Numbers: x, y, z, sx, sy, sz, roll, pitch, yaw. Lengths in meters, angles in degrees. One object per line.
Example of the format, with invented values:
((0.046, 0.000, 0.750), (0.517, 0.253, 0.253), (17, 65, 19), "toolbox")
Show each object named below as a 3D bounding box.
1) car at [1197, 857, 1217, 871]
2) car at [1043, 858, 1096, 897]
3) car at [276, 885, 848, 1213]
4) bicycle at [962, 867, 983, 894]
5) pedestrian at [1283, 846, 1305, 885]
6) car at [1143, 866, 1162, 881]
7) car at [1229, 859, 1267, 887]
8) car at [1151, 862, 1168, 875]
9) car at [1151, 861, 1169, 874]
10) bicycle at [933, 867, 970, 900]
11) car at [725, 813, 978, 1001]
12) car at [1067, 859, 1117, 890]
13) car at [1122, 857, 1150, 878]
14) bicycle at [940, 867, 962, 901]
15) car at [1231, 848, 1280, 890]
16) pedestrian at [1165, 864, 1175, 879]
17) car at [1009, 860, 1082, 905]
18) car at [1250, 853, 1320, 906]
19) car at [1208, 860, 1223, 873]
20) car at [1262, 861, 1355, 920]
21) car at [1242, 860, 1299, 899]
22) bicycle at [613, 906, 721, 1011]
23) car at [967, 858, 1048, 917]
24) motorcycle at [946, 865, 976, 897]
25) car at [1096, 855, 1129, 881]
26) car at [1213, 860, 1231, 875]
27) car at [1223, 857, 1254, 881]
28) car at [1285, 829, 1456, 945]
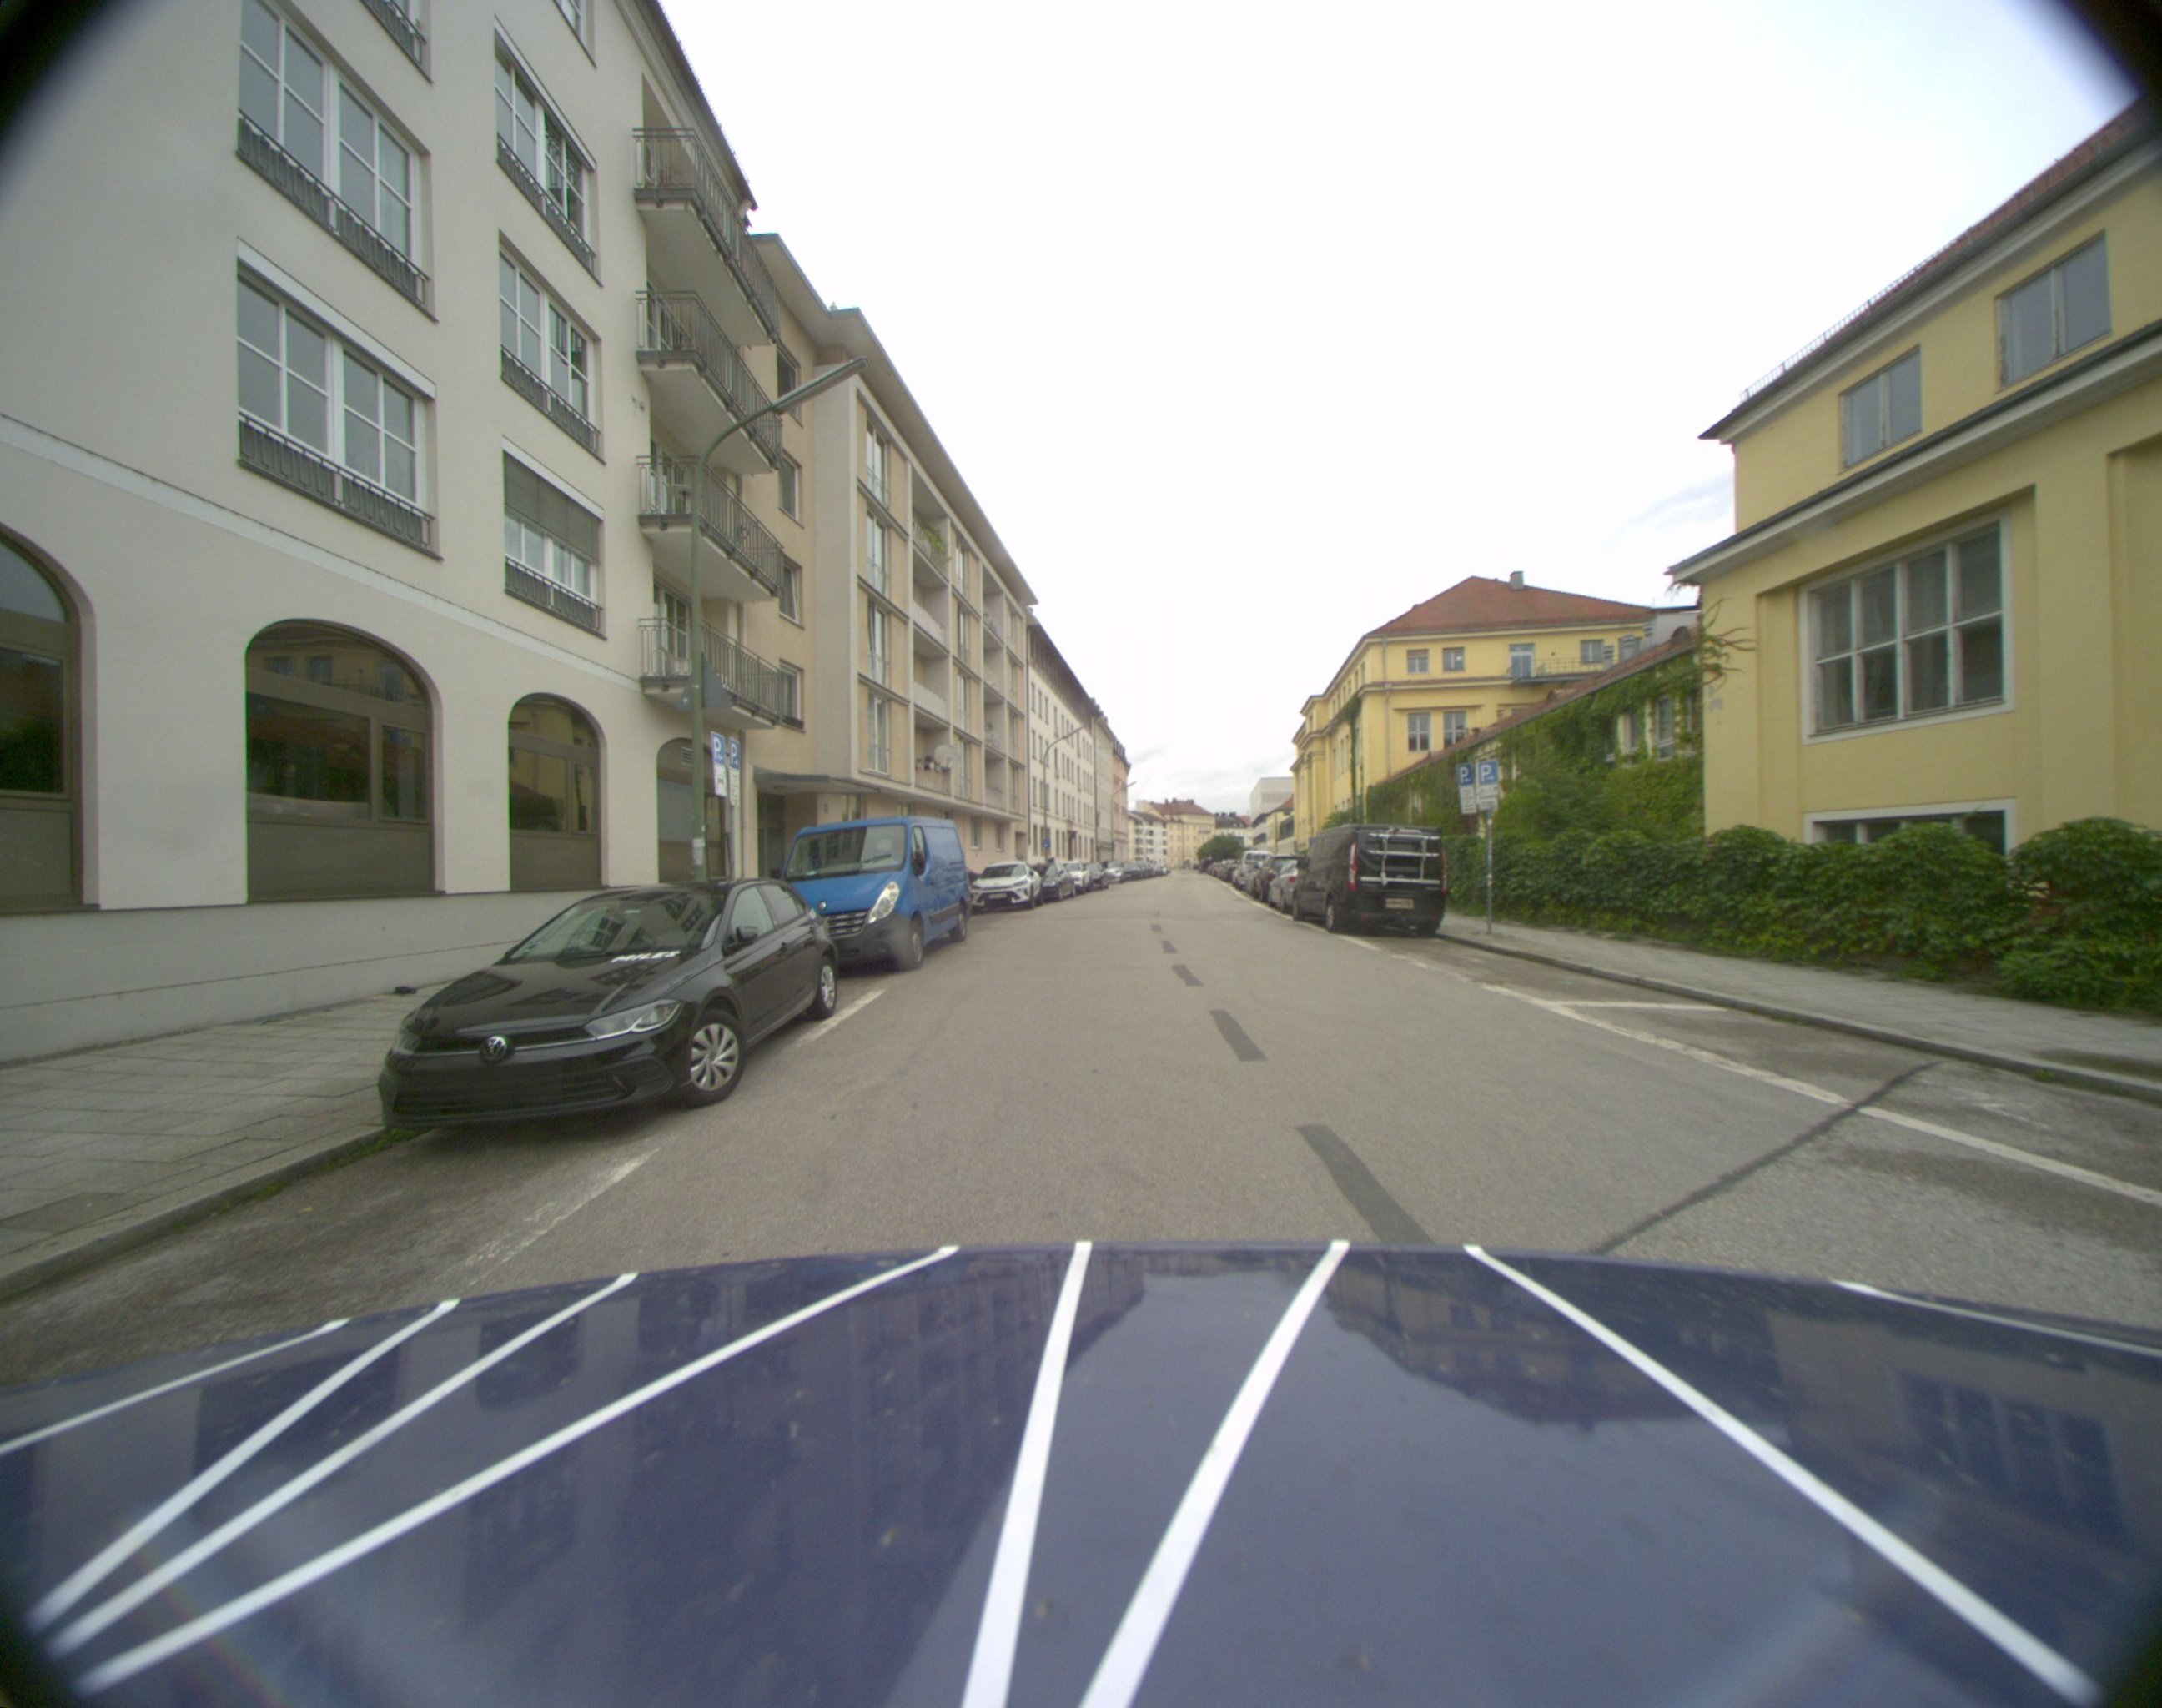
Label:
((22.387, 1.770, 135.192), (2.846, 2.536, 6.895), (0, -1, 3), "car")
((-0.459, 1.005, 34.009), (1.705, 1.459, 4.122), (-5, -1, 7), "car")
((-3.247, 1.071, 5.879), (1.719, 1.386, 3.999), (-4, 0, -3), "car")
((-4.791, 1.172, 33.618), (0.514, 1.150, 1.602), (0, 0, 8), "bicycle")
((9.735, 0.512, 34.739), (0.844, 1.744, 0.873), (-1, 0, 9), "pedestrian")
((7.836, 2.089, 83.152), (1.767, 1.531, 4.003), (-4, -1, 9), "car")
((9.105, 1.023, 41.637), (1.670, 1.401, 3.561), (2, 0, 7), "car")
((10.978, 2.014, 105.595), (2.000, 1.563, 4.495), (-3, -1, 9), "car")
((9.288, 1.604, 89.617), (1.723, 1.457, 4.196), (-3, -1, 10), "car")
((-5.015, 1.151, 29.488), (1.341, 1.195, 0.394), (2, 1, -5), "bicycle")
((-3.262, 0.624, 12.174), (2.114, 2.201, 5.028), (-6, 1, 3), "car")
((0.640, 1.025, 38.685), (1.830, 1.373, 4.495), (-3, -1, 9), "car")
((4.308, 1.045, 59.257), (1.877, 1.439, 4.703), (-2, -1, 7), "car")
((-4.871, 1.097, 28.535), (0.447, 1.195, 1.371), (2, 1, 6), "bicycle")
((8.364, 0.719, 36.786), (1.896, 1.788, 4.885), (3, 0, 9), "car")
((18.000, 3.517, 154.100), (1.928, 2.933, 2.027), (0, 0, 9), "pedestrian")
((-1.251, 1.030, 29.026), (1.775, 1.420, 4.697), (-6, -1, 9), "car")
((6.932, 0.836, 26.227), (1.705, 1.597, 4.494), (2, 0, 8), "car")
((17.165, 1.542, 96.920), (1.772, 1.545, 4.213), (2, 0, 9), "car")
((6.124, 0.932, 20.895), (1.710, 1.357, 4.004), (3, 0, 7), "car")
((7.767, 1.002, 31.481), (1.807, 1.369, 4.494), (4, 0, 9), "car")
((-5.056, 1.229, 9.400), (0.567, 1.063, 1.786), (-1, -1, -8), "bicycle")
((-2.195, 0.992, 23.758), (1.780, 1.513, 4.306), (-5, -1, 3), "car")
((-4.948, 1.090, 31.462), (0.636, 1.263, 2.042), (0, 0, 8), "motorcycle")
((2.114, 0.916, 49.640), (1.617, 1.507, 3.383), (-5, -1, 10), "car")
((14.882, 1.408, 80.217), (1.737, 1.431, 3.782), (2, 0, 9), "car")
((10.699, 1.033, 51.813), (1.720, 1.472, 4.223), (3, 0, 7), "car")
((5.703, 0.608, 15.684), (1.929, 1.967, 4.624), (2, -1, 3), "car")
